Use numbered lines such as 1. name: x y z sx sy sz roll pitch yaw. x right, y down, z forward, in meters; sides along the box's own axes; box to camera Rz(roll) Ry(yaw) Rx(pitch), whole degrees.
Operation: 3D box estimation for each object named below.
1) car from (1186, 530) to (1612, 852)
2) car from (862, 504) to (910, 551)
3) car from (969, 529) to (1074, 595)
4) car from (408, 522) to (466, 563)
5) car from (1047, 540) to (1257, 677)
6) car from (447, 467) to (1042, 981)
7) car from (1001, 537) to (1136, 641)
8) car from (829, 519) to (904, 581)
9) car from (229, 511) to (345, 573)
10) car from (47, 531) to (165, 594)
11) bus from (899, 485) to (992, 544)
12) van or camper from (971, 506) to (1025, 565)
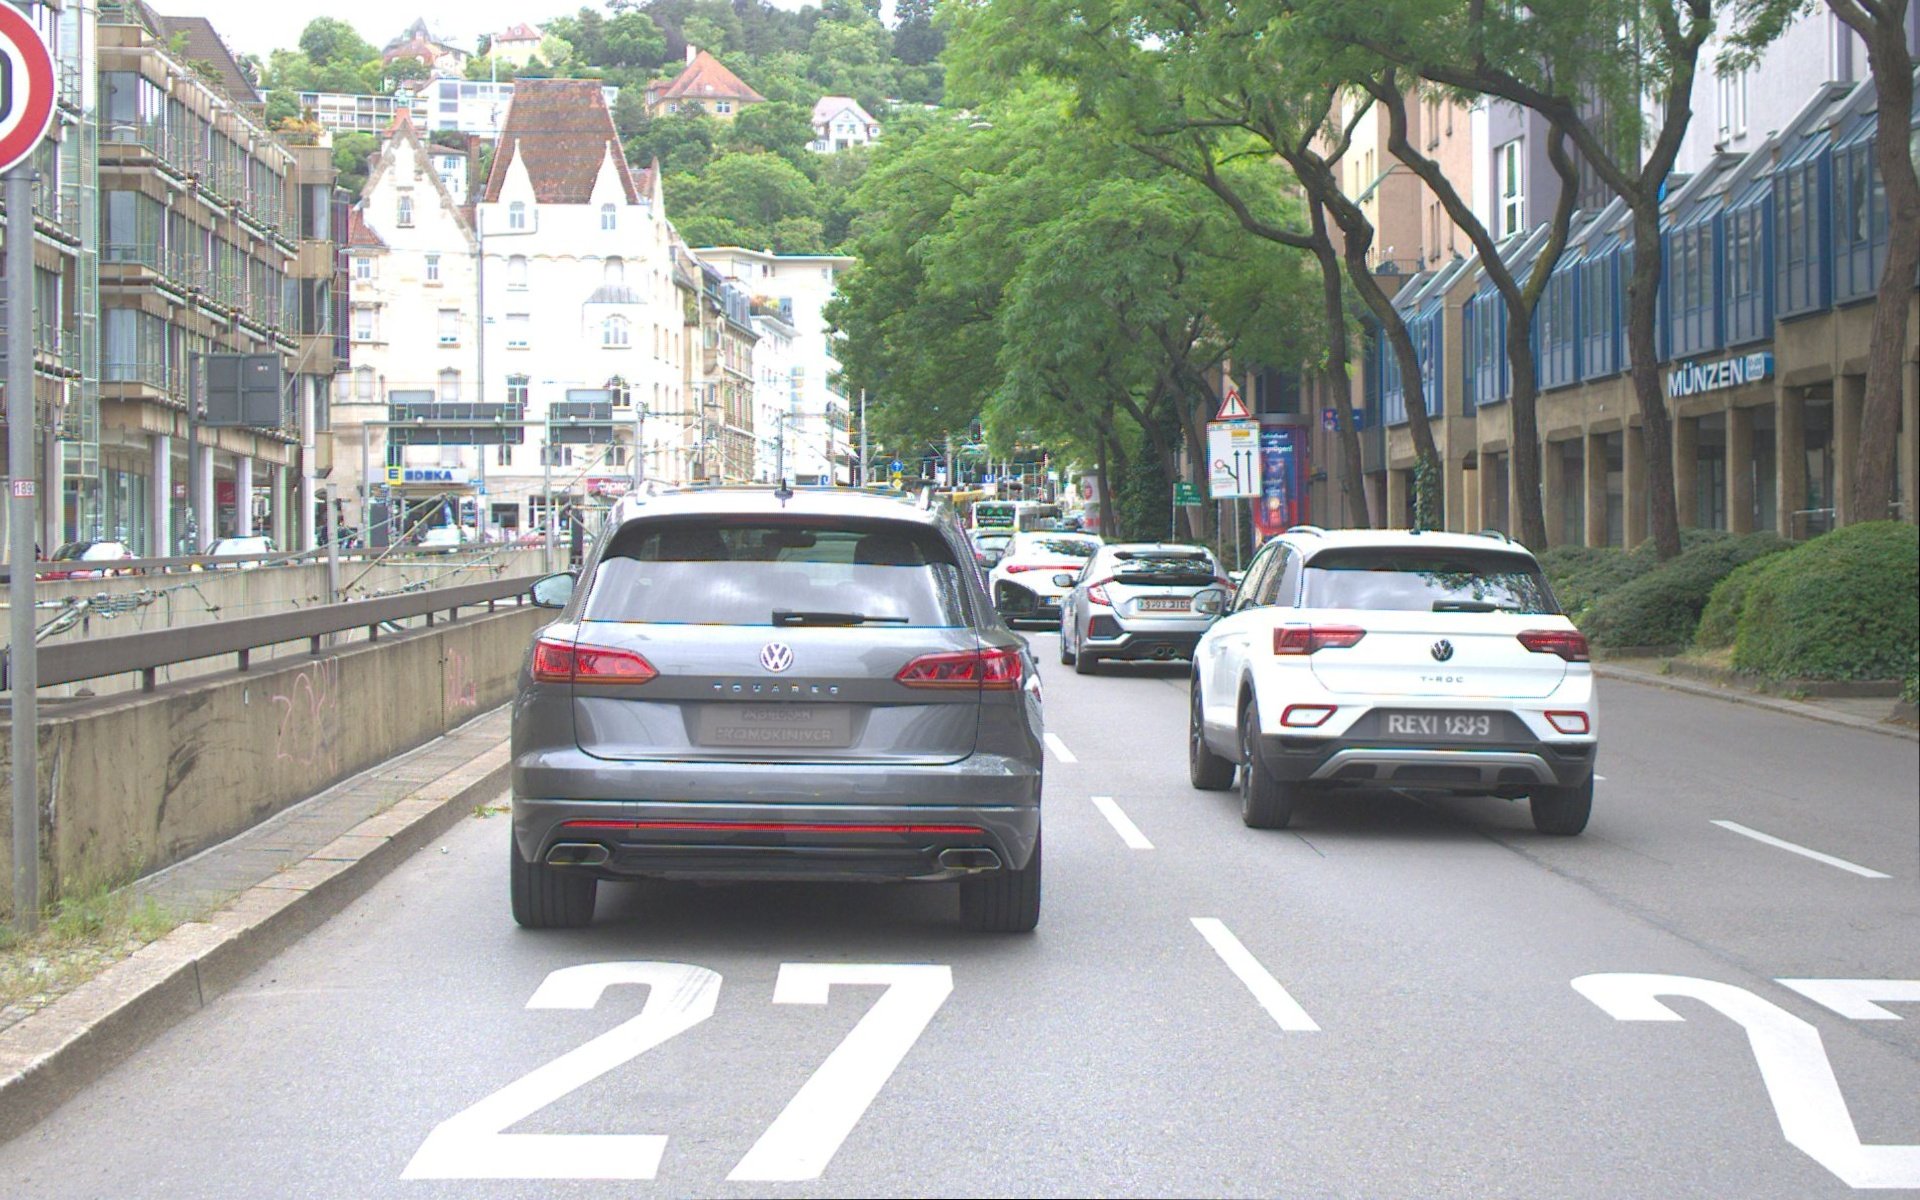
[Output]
1. car: 2.285 0.410 18.842 1.797 1.540 3.936 1 1 0
2. car: -3.023 -3.009 142.160 1.832 1.868 4.871 -1 1 0
3. car: 1.301 -0.833 74.360 1.832 1.358 3.768 -1 1 -5
4. car: -23.174 -2.565 152.447 1.993 1.761 4.281 0 1 -1
5. car: 2.068 0.092 38.090 1.833 1.427 4.148 0 0 -4
6. car: -0.822 0.367 13.780 1.970 1.690 4.225 -2 1 -3
7. car: 1.618 -0.193 52.457 1.832 1.512 3.767 -1 1 -1
8. car: -2.439 -1.318 90.490 1.832 1.561 3.767 -1 1 0
9. car: -17.612 -1.537 90.153 1.993 1.580 4.887 0 1 1
10. car: -20.853 -0.945 84.158 1.993 1.459 4.887 -1 1 -4
11. bus: -0.818 -5.317 214.324 3.850 3.519 17.242 0 1 6
12. van or camper: 2.035 -3.512 185.922 2.627 3.167 5.804 0 1 -2
